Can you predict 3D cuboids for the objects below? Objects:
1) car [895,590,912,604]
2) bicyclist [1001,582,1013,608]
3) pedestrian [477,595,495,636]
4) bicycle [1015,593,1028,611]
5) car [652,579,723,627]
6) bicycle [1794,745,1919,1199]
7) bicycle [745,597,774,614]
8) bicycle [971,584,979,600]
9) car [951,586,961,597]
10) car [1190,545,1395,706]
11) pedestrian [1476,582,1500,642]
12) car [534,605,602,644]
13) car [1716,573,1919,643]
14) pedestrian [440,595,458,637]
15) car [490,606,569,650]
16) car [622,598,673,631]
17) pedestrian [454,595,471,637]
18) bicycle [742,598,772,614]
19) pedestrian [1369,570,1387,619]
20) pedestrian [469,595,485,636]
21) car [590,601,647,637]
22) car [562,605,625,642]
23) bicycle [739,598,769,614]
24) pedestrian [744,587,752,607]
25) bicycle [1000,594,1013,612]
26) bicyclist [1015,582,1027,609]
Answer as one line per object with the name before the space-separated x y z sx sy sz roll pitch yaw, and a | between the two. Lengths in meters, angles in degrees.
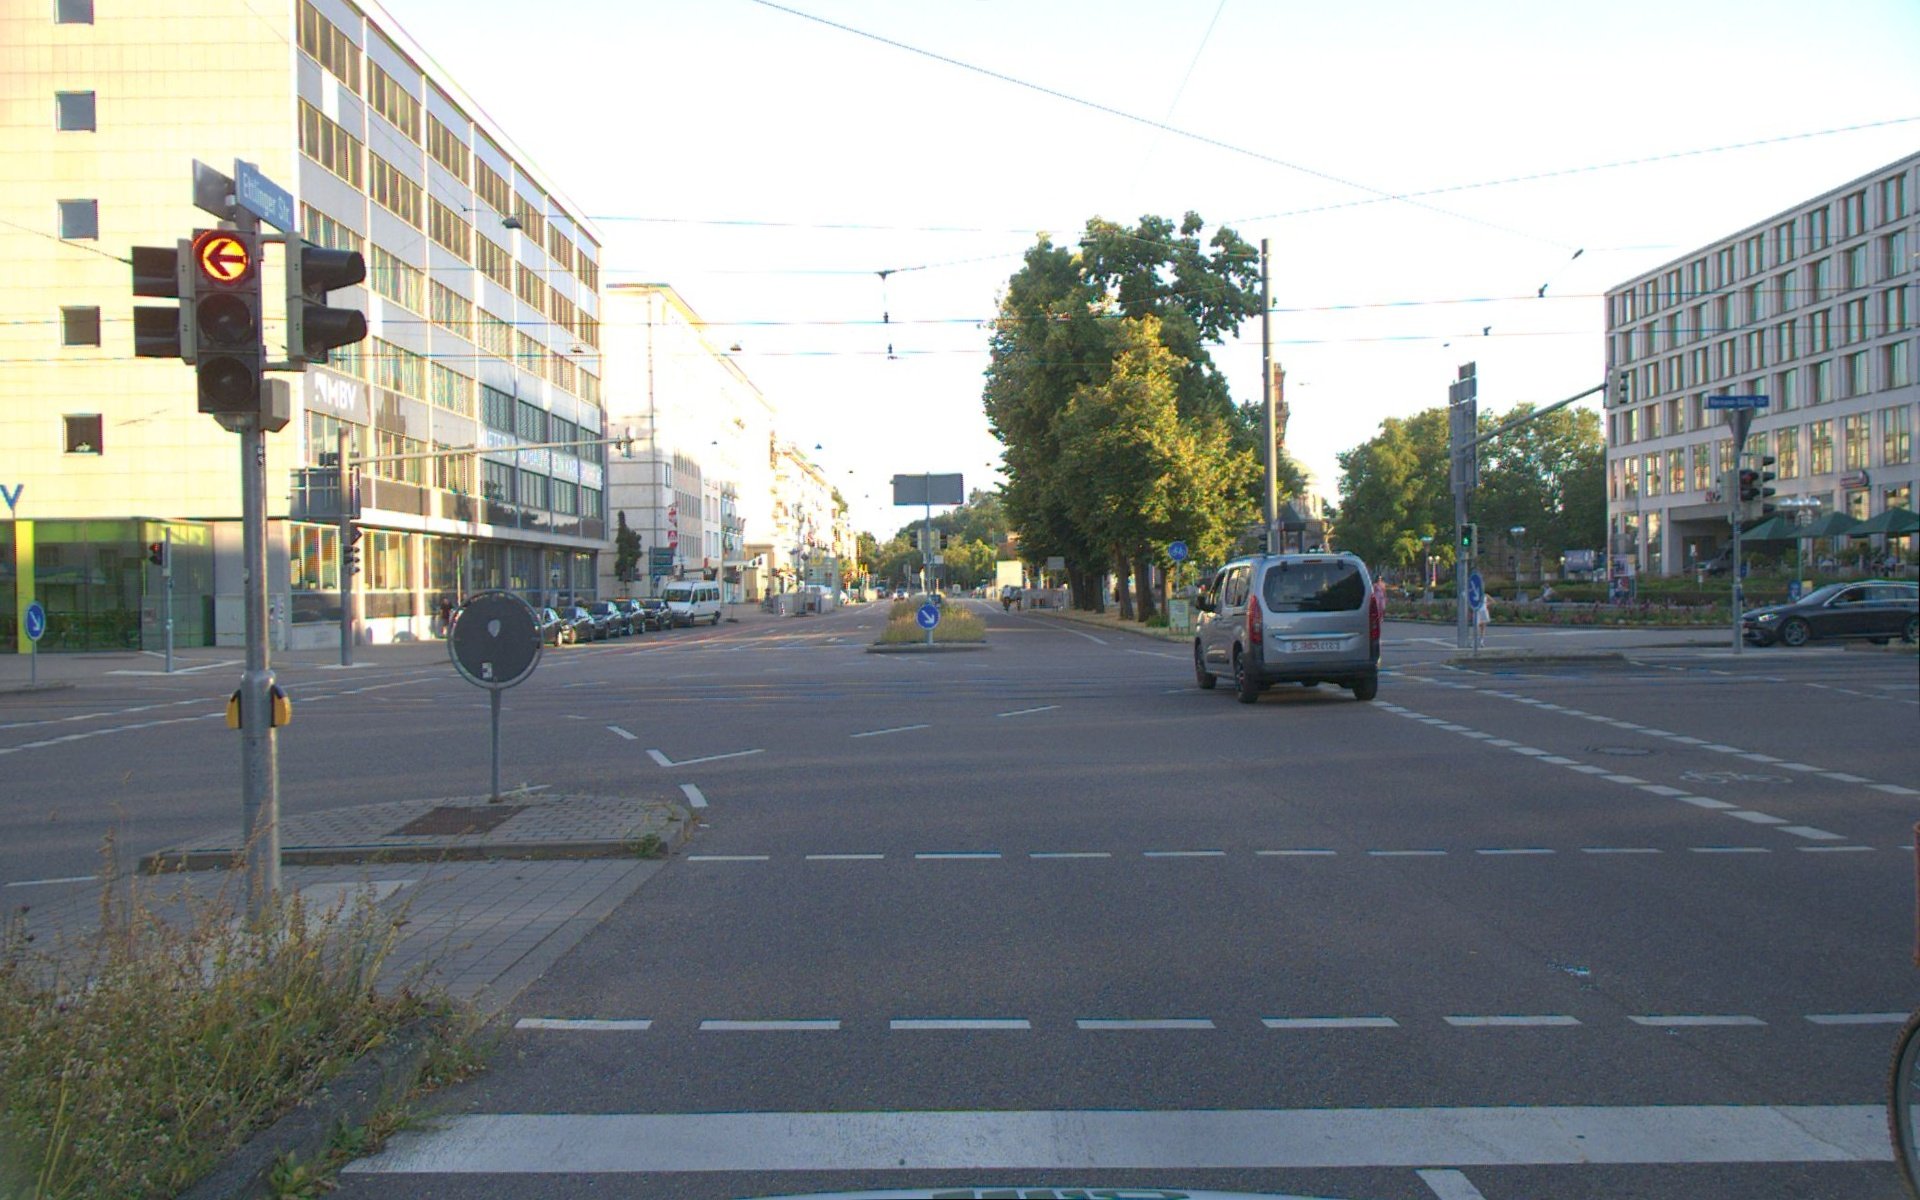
car | -6.684 -0.384 195.386 1.825 1.546 4.000 -1 0 0
bicyclist | 3.110 -0.342 109.845 0.731 1.692 0.873 -1 0 -1
pedestrian | -19.606 0.640 68.406 0.540 1.708 0.500 -1 0 -1
bicycle | 4.082 0.151 110.240 0.731 1.164 2.505 -1 0 -1
car | -14.937 0.137 90.998 1.958 2.521 5.873 -1 0 9
bicycle | 2.239 0.917 2.819 0.599 1.152 2.004 1 0 -1
bicycle | -15.614 0.388 128.639 2.161 1.258 0.839 -1 0 -2
bicycle | 1.952 -0.995 211.123 0.877 2.049 3.999 -1 0 -1
car | -0.610 -1.278 261.378 1.379 1.670 3.998 -1 0 -2
car | 4.383 0.256 22.472 1.727 1.921 4.499 -1 1 -2
pedestrian | 13.884 0.303 43.507 0.480 1.566 0.408 -1 0 -1
car | -16.113 0.985 68.174 1.882 1.489 3.999 -1 0 -1
car | 21.088 0.169 39.934 4.724 1.542 2.000 -1 0 1
pedestrian | -21.051 0.653 68.105 0.540 1.708 0.500 -1 0 -1
car | -16.005 1.025 61.696 1.882 1.489 4.102 -1 0 -1
car | -15.955 0.725 84.523 1.882 1.595 3.999 -1 0 -1
pedestrian | -20.712 0.662 68.890 0.540 1.708 0.500 -1 0 -1
bicycle | -15.572 0.465 126.779 2.161 1.131 0.689 -1 0 -2
pedestrian | 14.641 -0.205 57.920 0.451 1.685 0.566 -1 0 -1
pedestrian | -20.133 0.642 68.935 0.490 1.708 0.500 -1 0 -1
car | -16.129 0.874 78.291 1.882 1.595 3.999 -1 0 -1
car | -16.133 1.005 72.988 1.882 1.489 3.999 -1 0 -1
bicycle | -15.579 0.459 125.228 2.161 1.131 0.618 -1 0 -3
pedestrian | -21.056 -0.306 164.589 0.666 2.049 0.545 -1 0 -1
bicycle | 3.125 0.162 110.406 0.731 1.164 2.505 -1 0 -1
bicyclist | 4.070 -0.307 110.084 0.731 1.720 0.799 -1 0 -1
